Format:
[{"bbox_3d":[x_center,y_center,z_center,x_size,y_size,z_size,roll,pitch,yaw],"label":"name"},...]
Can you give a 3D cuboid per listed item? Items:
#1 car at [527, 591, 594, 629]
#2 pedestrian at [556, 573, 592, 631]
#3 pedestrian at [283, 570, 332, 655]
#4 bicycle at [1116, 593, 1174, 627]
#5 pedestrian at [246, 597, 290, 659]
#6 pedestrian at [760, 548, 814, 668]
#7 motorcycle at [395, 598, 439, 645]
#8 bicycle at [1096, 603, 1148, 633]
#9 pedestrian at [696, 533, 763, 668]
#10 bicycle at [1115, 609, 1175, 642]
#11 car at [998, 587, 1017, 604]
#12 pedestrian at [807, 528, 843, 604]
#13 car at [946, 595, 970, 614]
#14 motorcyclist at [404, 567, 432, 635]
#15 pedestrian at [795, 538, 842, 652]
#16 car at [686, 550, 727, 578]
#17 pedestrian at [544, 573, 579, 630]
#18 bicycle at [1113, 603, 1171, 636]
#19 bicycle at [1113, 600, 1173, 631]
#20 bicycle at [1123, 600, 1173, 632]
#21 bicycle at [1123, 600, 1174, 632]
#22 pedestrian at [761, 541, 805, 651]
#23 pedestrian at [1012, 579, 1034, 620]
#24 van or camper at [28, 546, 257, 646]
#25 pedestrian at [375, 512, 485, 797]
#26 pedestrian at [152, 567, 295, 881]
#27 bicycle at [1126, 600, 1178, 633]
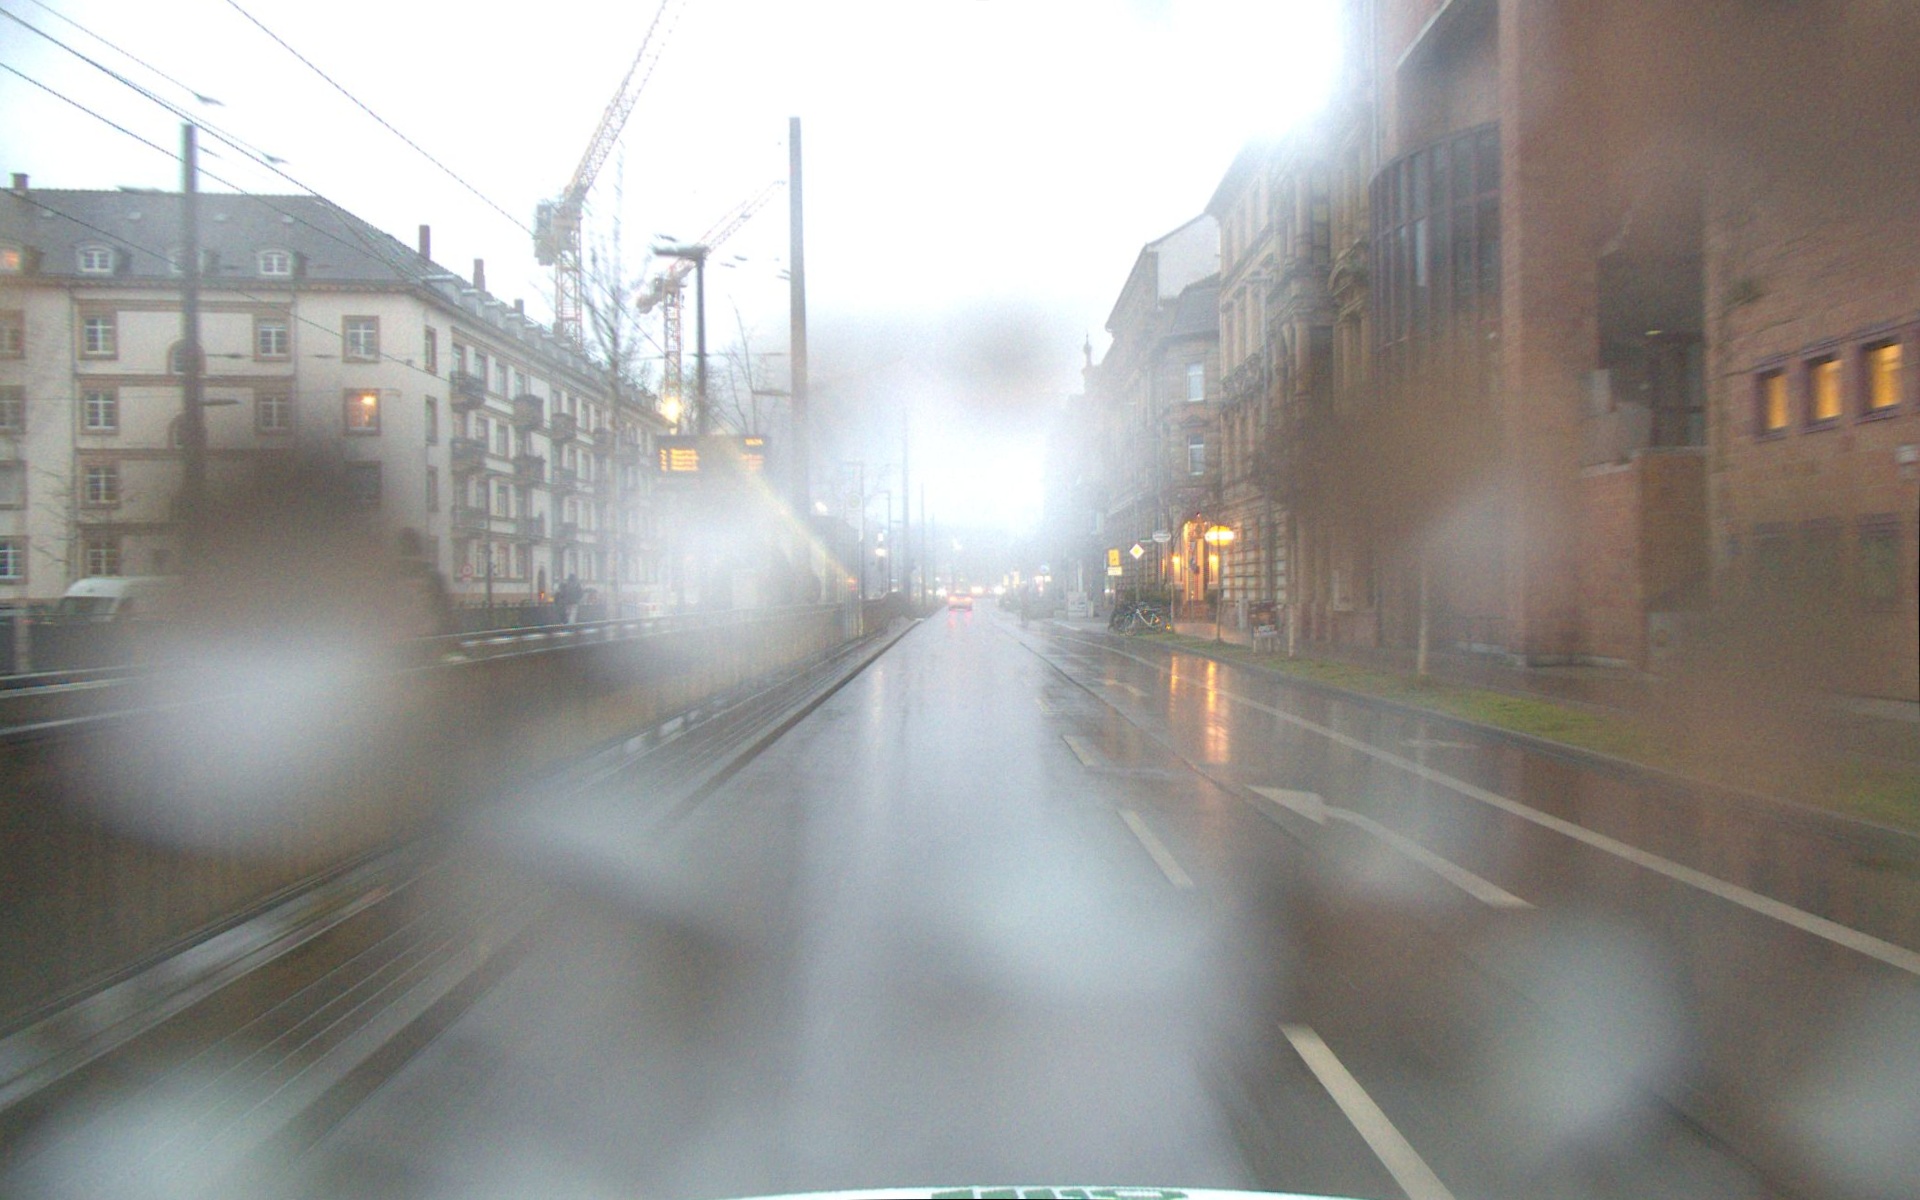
[{"bbox_3d":[-14.814,0.348,61.452,1.647,1.378,3.545,0,0,-1],"label":"car"},{"bbox_3d":[-11.998,0.060,51.450,0.791,1.811,0.810,1,0,-42],"label":"pedestrian"},{"bbox_3d":[-12.105,0.227,30.670,0.631,1.551,0.745,1,0,-42],"label":"pedestrian"},{"bbox_3d":[6.603,0.355,59.117,1.967,1.114,0.425,-4,0,-1],"label":"bicycle"},{"bbox_3d":[-12.761,0.507,30.509,0.603,1.122,0.583,1,0,-40],"label":"pedestrian"},{"bbox_3d":[-2.905,0.126,27.904,0.793,1.981,0.804,-1,0,0],"label":"pedestrian"},{"bbox_3d":[-12.353,0.479,37.644,0.502,1.026,1.805,1,0,-4],"label":"motorcycle"},{"bbox_3d":[6.336,0.697,64.750,2.062,1.070,0.474,-2,0,-27],"label":"bicycle"},{"bbox_3d":[-3.041,0.002,21.790,0.764,1.733,0.769,0,0,-18],"label":"pedestrian"},{"bbox_3d":[6.745,0.935,60.388,2.101,1.073,0.425,-3,1,-1],"label":"bicycle"},{"bbox_3d":[4.764,-0.424,165.271,1.761,1.632,3.771,-1,0,2],"label":"car"},{"bbox_3d":[-2.804,-0.700,34.238,0.668,1.542,0.617,0,0,-12],"label":"pedestrian"},{"bbox_3d":[-0.161,0.338,130.605,1.747,1.492,3.149,-1,0,2],"label":"car"},{"bbox_3d":[-12.337,0.019,37.646,0.489,1.522,0.556,1,0,-5],"label":"motorcyclist"},{"bbox_3d":[-2.720,-0.100,31.822,0.793,2.147,0.804,-1,0,0],"label":"pedestrian"},{"bbox_3d":[-13.017,-1.847,85.064,1.647,1.378,3.545,0,0,-1],"label":"car"},{"bbox_3d":[-12.829,0.041,53.270,0.791,1.811,0.810,1,0,-42],"label":"pedestrian"},{"bbox_3d":[6.855,0.728,62.328,2.101,1.073,0.425,-4,1,-1],"label":"bicycle"},{"bbox_3d":[6.727,0.562,60.839,2.100,1.073,0.484,-2,0,-1],"label":"bicycle"},{"bbox_3d":[6.623,0.557,58.261,1.695,1.073,0.371,-2,0,-1],"label":"bicycle"},{"bbox_3d":[6.580,0.555,57.690,1.695,1.073,0.371,-2,0,-1],"label":"bicycle"},{"bbox_3d":[-3.505,-0.089,32.848,0.793,2.147,0.804,-1,0,-3],"label":"pedestrian"},{"bbox_3d":[3.179,-0.035,83.567,0.896,2.049,0.856,-1,0,19],"label":"pedestrian"},{"bbox_3d":[-23.959,-0.125,48.914,2.714,2.729,6.759,1,0,8],"label":"van or camper"},{"bbox_3d":[-3.334,0.327,10.419,0.636,1.733,0.565,0,0,-18],"label":"pedestrian"},{"bbox_3d":[-4.184,0.681,9.424,0.529,1.722,0.643,0,0,-3],"label":"pedestrian"},{"bbox_3d":[6.640,0.555,57.189,1.695,1.073,0.371,-2,0,-1],"label":"bicycle"}]
